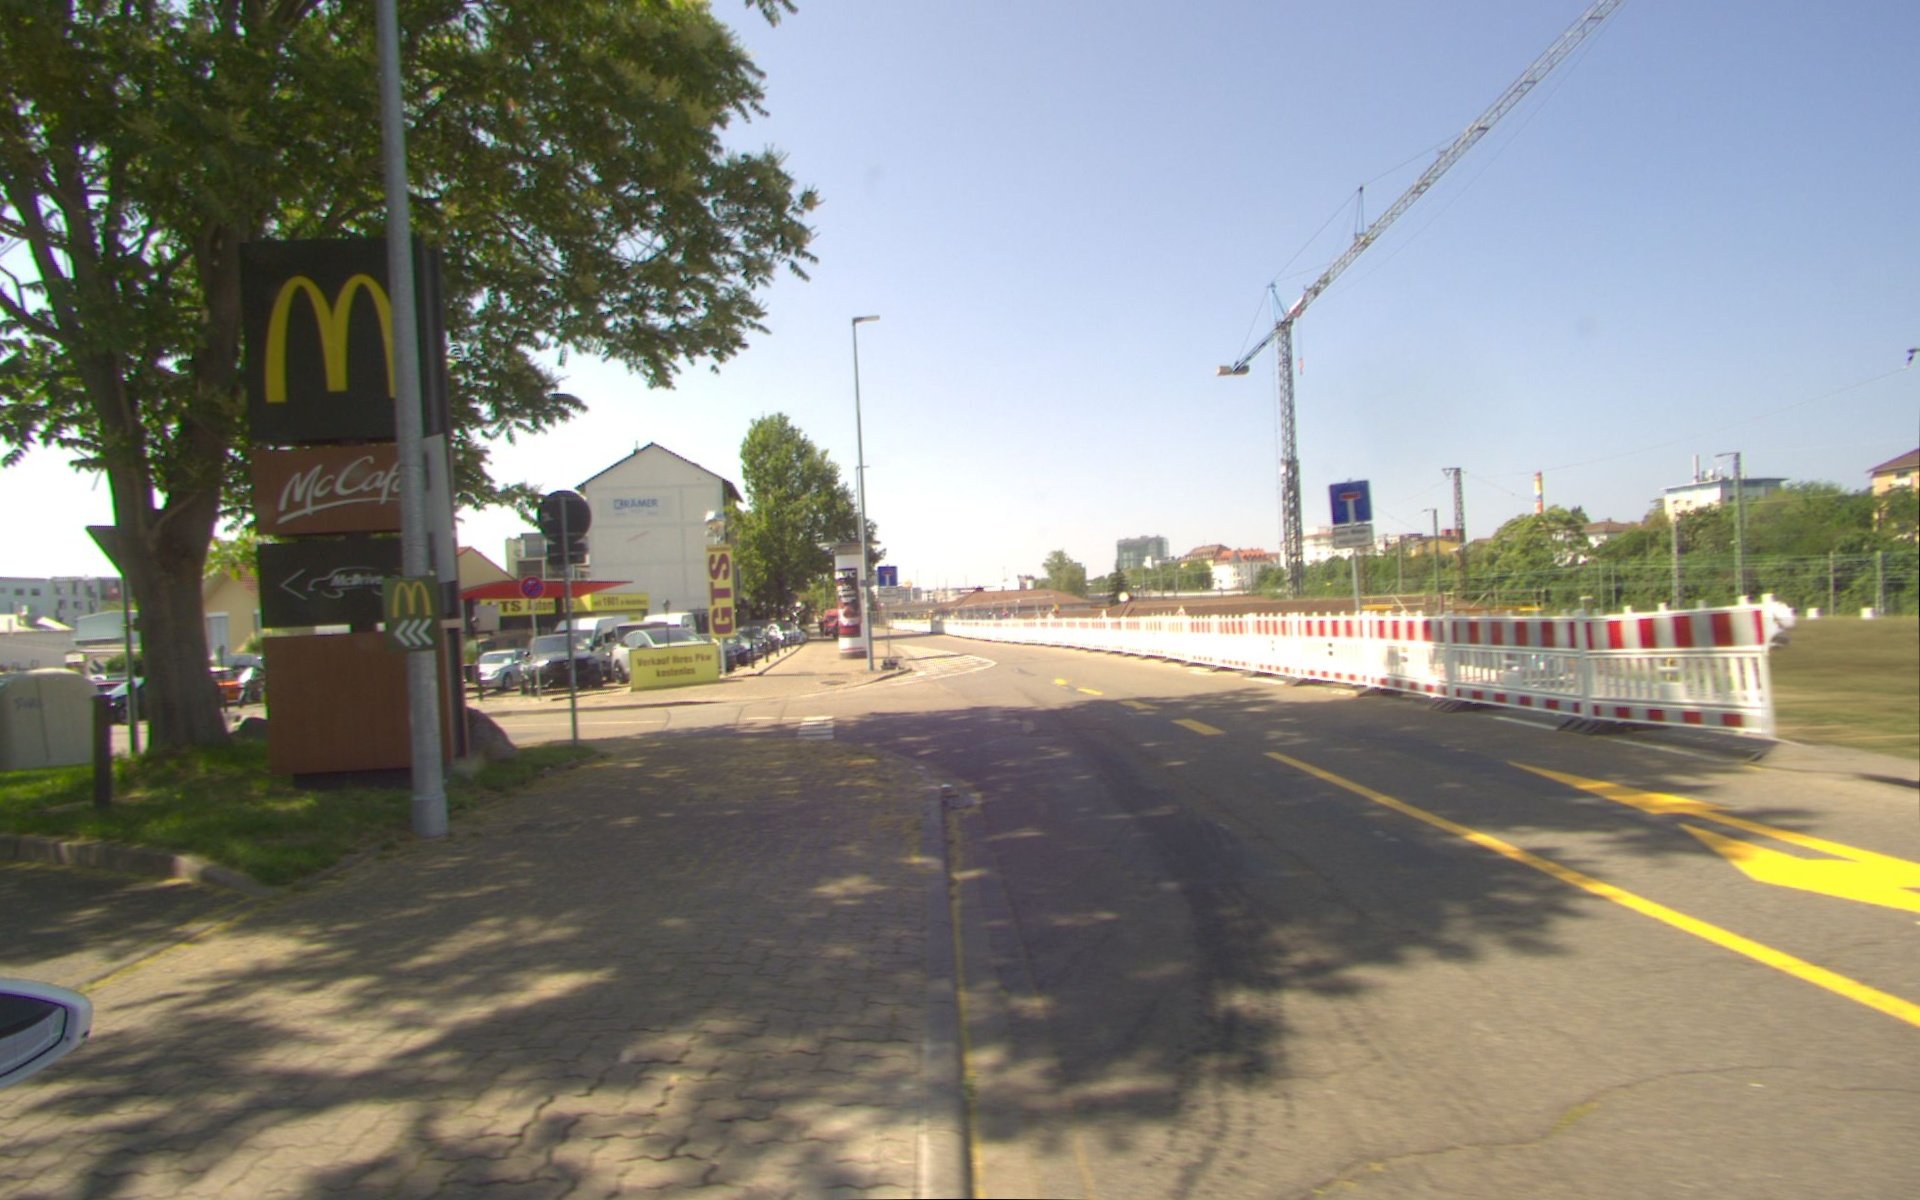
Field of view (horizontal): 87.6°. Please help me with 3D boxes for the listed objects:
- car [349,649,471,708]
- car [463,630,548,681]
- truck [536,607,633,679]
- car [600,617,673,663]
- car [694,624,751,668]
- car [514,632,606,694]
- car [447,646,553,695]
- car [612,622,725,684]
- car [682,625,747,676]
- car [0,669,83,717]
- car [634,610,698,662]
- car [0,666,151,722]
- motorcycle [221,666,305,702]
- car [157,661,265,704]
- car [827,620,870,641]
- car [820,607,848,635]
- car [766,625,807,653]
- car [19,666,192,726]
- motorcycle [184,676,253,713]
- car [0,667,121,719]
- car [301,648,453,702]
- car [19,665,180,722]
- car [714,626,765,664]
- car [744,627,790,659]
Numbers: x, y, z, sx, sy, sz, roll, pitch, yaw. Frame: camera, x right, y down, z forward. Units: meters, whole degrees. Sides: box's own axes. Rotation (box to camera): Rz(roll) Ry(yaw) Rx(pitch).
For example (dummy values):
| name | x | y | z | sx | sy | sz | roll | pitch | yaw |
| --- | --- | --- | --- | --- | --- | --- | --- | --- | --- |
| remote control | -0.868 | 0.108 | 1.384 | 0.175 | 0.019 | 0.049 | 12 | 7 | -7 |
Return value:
| name | x | y | z | sx | sy | sz | roll | pitch | yaw |
| --- | --- | --- | --- | --- | --- | --- | --- | --- | --- |
| car | -16.349 | 2.285 | 29.994 | 1.759 | 1.529 | 4.001 | -2 | -2 | -6 |
| car | -19.808 | 2.395 | 43.834 | 1.961 | 2.039 | 4.497 | -2 | -2 | -5 |
| truck | -16.628 | 1.860 | 44.720 | 2.232 | 2.941 | 5.944 | -2 | -1 | -3 |
| car | -13.604 | 1.658 | 42.403 | 1.847 | 1.760 | 4.723 | -2 | -1 | -4 |
| car | -10.004 | 1.902 | 41.967 | 1.830 | 1.650 | 3.992 | -2 | -1 | -20 |
| car | -11.900 | 1.828 | 29.604 | 2.022 | 1.615 | 4.406 | -2 | -2 | -28 |
| car | -16.384 | 2.479 | 35.878 | 1.759 | 1.506 | 4.002 | -2 | -2 | 3 |
| car | -9.216 | 1.669 | 31.486 | 1.977 | 1.747 | 3.969 | -1 | -2 | -39 |
| car | -8.941 | 1.789 | 36.308 | 1.830 | 1.650 | 3.992 | -2 | -1 | -20 |
| car | -37.670 | 3.696 | 39.217 | 1.964 | 1.747 | 4.649 | -3 | -2 | 16 |
| car | -14.133 | 1.710 | 48.424 | 2.101 | 2.314 | 4.710 | -3 | -1 | -7 |
| car | -33.147 | 3.436 | 37.070 | 1.964 | 1.747 | 4.649 | -3 | -2 | 16 |
| motorcycle | -27.643 | 3.308 | 39.758 | 0.981 | 1.242 | 2.716 | -3 | -2 | 16 |
| car | -31.070 | 3.437 | 41.543 | 3.937 | 1.605 | 1.993 | -3 | -2 | 26 |
| car | -9.528 | 2.562 | 85.468 | 1.709 | 1.658 | 3.251 | -4 | -2 | 43 |
| car | -12.461 | 2.139 | 99.213 | 2.497 | 2.552 | 5.119 | -2 | -2 | -5 |
| car | -11.164 | 2.513 | 64.263 | 1.830 | 1.650 | 3.992 | -2 | -1 | -20 |
| car | -28.754 | 3.196 | 33.839 | 1.967 | 1.727 | 3.989 | -3 | -2 | 23 |
| motorcycle | -26.862 | 3.411 | 36.310 | 0.779 | 1.173 | 1.863 | -3 | -2 | 35 |
| car | -35.429 | 3.576 | 38.407 | 1.964 | 1.747 | 4.649 | -3 | -2 | 16 |
| car | -20.502 | 2.596 | 35.335 | 4.291 | 1.605 | 1.982 | -1 | -2 | -43 |
| car | -31.015 | 3.322 | 36.246 | 1.964 | 1.747 | 3.996 | -3 | -2 | 16 |
| car | -10.513 | 2.109 | 47.545 | 1.830 | 1.650 | 3.992 | -2 | -1 | -20 |
| car | -10.841 | 2.405 | 56.059 | 1.830 | 1.650 | 3.992 | -2 | -1 | -20 |
